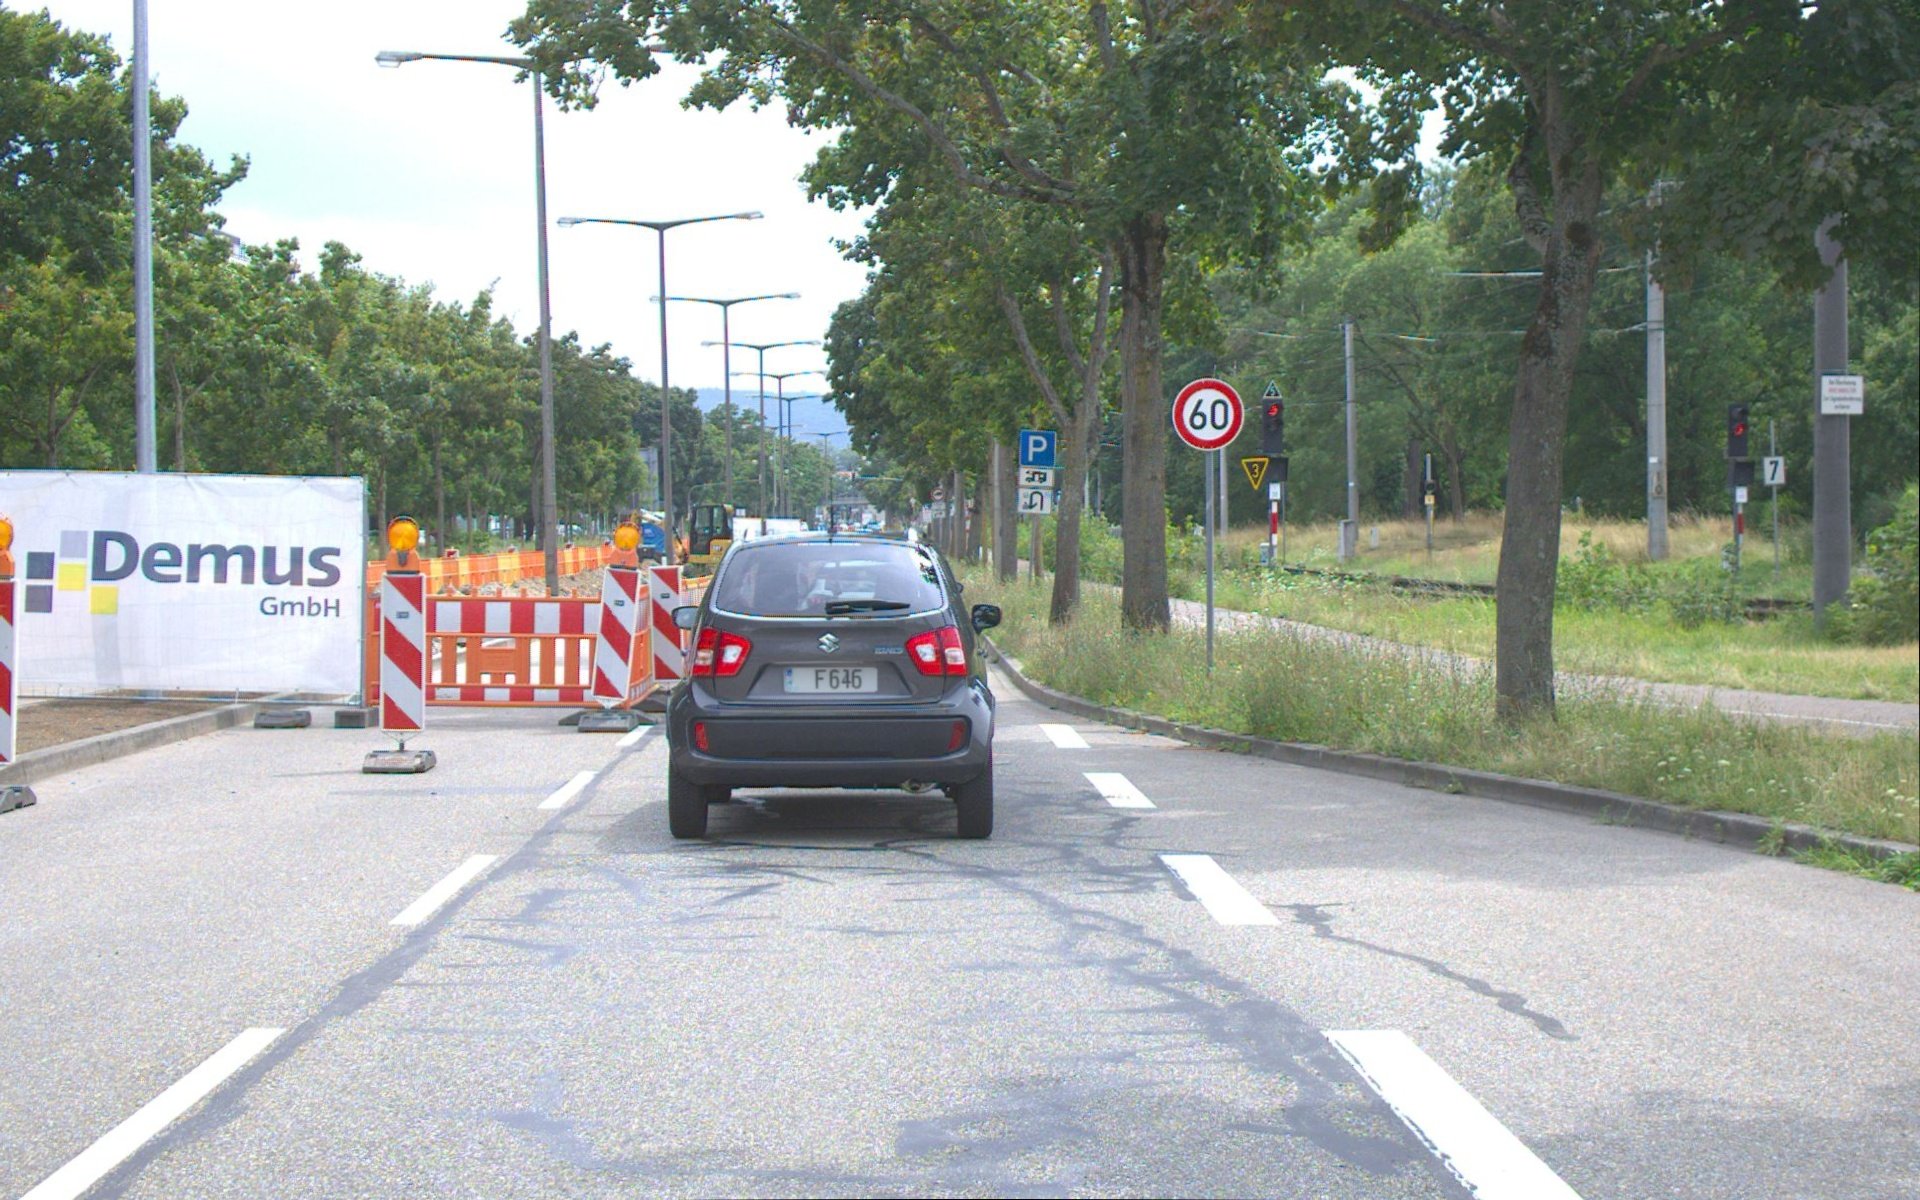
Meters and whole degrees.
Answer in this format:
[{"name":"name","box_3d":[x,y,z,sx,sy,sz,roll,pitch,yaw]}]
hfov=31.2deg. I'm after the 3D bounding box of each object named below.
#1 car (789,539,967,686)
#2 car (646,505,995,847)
[{"name":"car","box_3d":[-0.947,0.094,37.455,1.766,1.459,4.001,0,2,-4]},{"name":"car","box_3d":[-0.742,0.315,18.800,1.703,1.662,4.001,0,2,-2]}]
